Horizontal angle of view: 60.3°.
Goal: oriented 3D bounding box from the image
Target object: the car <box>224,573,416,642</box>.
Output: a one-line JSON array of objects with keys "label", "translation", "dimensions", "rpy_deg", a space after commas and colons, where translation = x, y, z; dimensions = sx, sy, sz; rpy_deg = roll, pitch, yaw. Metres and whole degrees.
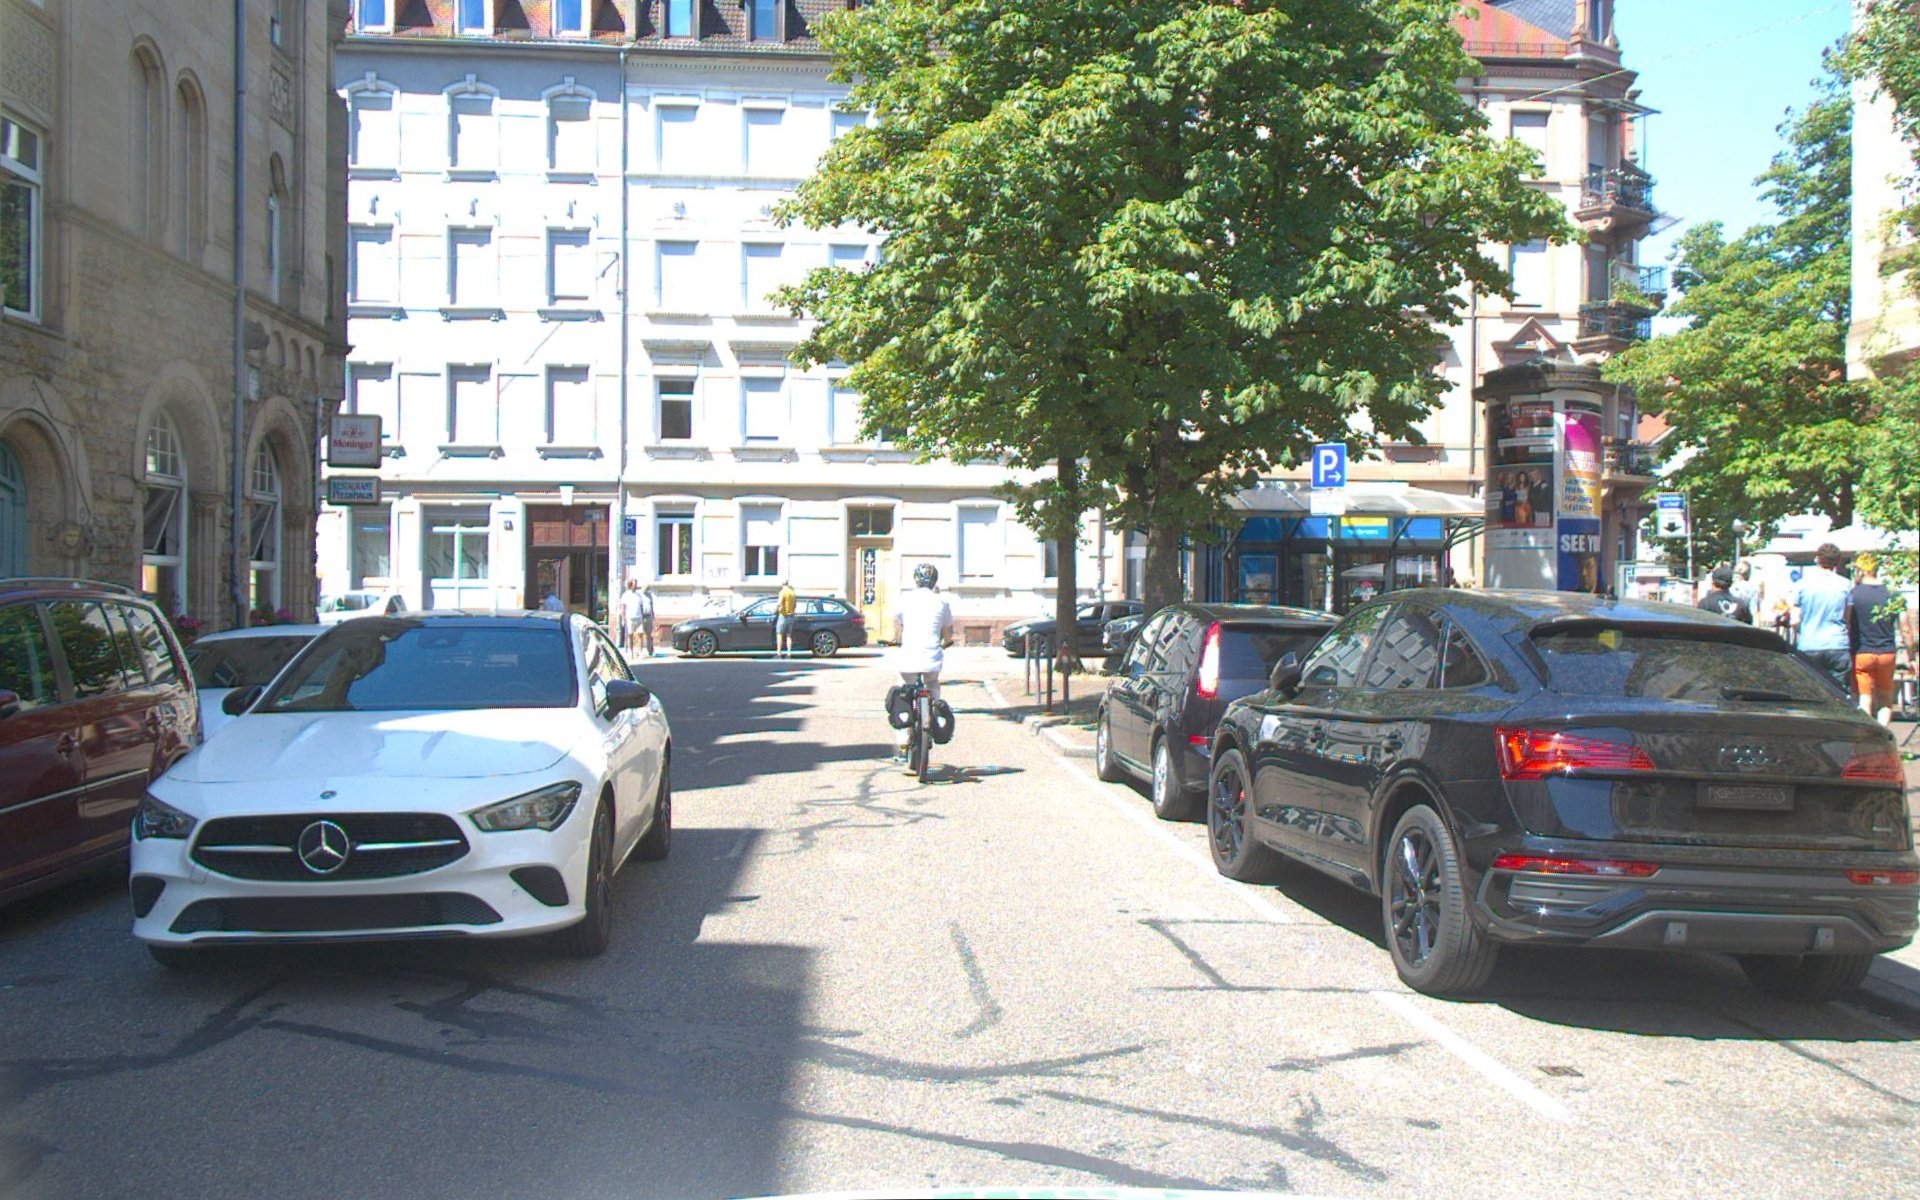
[{"label": "car", "translation": [-15.416, 0.171, 39.990], "dimensions": [3.968, 1.589, 1.805], "rpy_deg": [0, 0, -5]}]

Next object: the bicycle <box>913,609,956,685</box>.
[{"label": "bicycle", "translation": [-0.462, 0.796, 28.930], "dimensions": [0.639, 1.230, 2.440], "rpy_deg": [2, 0, -3]}]

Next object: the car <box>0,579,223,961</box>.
[{"label": "car", "translation": [-4.935, 0.743, 7.503], "dimensions": [1.640, 1.610, 4.048], "rpy_deg": [-2, 0, -5]}]

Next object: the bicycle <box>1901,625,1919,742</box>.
[{"label": "bicycle", "translation": [9.599, 0.796, 16.285], "dimensions": [0.537, 1.057, 1.834], "rpy_deg": [-1, 0, 29]}]

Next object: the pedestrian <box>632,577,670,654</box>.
[{"label": "pedestrian", "translation": [-7.580, 0.373, 40.608], "dimensions": [0.884, 1.846, 0.958], "rpy_deg": [0, 0, -9]}]

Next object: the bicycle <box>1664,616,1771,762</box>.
[{"label": "bicycle", "translation": [6.955, 0.767, 15.278], "dimensions": [0.777, 1.189, 2.578], "rpy_deg": [0, 0, 22]}]

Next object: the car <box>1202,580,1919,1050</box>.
[{"label": "car", "translation": [2.593, 0.762, 8.008], "dimensions": [1.702, 1.624, 4.341], "rpy_deg": [2, 0, -7]}]

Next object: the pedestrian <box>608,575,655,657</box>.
[{"label": "pedestrian", "translation": [-7.888, 0.380, 39.723], "dimensions": [0.832, 1.922, 0.936], "rpy_deg": [0, 0, 7]}]

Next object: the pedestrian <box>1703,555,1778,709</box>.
[{"label": "pedestrian", "translation": [9.434, 0.376, 19.991], "dimensions": [0.743, 1.825, 0.574], "rpy_deg": [0, 0, -42]}]

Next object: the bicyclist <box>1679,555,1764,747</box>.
[{"label": "bicyclist", "translation": [6.833, 0.447, 14.860], "dimensions": [0.664, 1.676, 0.661], "rpy_deg": [0, 0, 24]}]

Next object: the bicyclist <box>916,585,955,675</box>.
[{"label": "bicyclist", "translation": [-0.428, 0.513, 28.993], "dimensions": [0.657, 1.560, 0.609], "rpy_deg": [0, 0, -3]}]

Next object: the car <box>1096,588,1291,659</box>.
[{"label": "car", "translation": [5.308, 0.514, 37.928], "dimensions": [4.140, 1.545, 1.805], "rpy_deg": [0, 0, -4]}]

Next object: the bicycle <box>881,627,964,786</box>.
[{"label": "bicycle", "translation": [-0.366, 0.904, 14.889], "dimensions": [0.639, 1.250, 2.440], "rpy_deg": [2, 0, -3]}]

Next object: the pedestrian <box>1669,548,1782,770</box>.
[{"label": "pedestrian", "translation": [6.276, 0.472, 13.581], "dimensions": [0.625, 1.782, 0.614], "rpy_deg": [0, 0, -1]}]

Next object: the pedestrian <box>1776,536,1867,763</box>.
[{"label": "pedestrian", "translation": [7.386, 0.416, 14.202], "dimensions": [0.507, 1.901, 0.654], "rpy_deg": [0, 0, 8]}]

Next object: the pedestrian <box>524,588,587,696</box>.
[{"label": "pedestrian", "translation": [-6.502, 0.667, 26.629], "dimensions": [0.840, 1.701, 0.773], "rpy_deg": [0, 0, -4]}]

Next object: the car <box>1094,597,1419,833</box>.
[{"label": "car", "translation": [2.225, 0.794, 13.525], "dimensions": [1.630, 1.567, 4.175], "rpy_deg": [2, 0, -3]}]

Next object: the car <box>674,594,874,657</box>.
[{"label": "car", "translation": [-4.520, 0.601, 40.656], "dimensions": [4.763, 1.462, 1.998], "rpy_deg": [0, 0, -4]}]

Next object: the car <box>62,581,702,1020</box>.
[{"label": "car", "translation": [-2.393, 0.702, 8.086], "dimensions": [1.805, 1.486, 4.359], "rpy_deg": [-2, 0, -4]}]

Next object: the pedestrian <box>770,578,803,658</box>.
[{"label": "pedestrian", "translation": [-4.137, 0.420, 39.422], "dimensions": [0.712, 1.886, 0.682], "rpy_deg": [0, 0, -13]}]

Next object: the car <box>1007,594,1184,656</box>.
[{"label": "car", "translation": [3.351, 0.600, 41.352], "dimensions": [4.209, 1.394, 1.806], "rpy_deg": [0, 3, -4]}]

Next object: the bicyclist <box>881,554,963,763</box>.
[{"label": "bicyclist", "translation": [-0.344, 0.504, 14.626], "dimensions": [0.657, 1.791, 0.609], "rpy_deg": [2, 0, -3]}]

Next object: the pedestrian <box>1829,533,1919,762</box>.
[{"label": "pedestrian", "translation": [8.003, 0.398, 14.324], "dimensions": [0.586, 1.913, 0.884], "rpy_deg": [0, 0, 9]}]

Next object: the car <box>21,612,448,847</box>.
[{"label": "car", "translation": [-5.291, 0.834, 12.751], "dimensions": [1.669, 1.376, 4.509], "rpy_deg": [-2, 0, -6]}]
